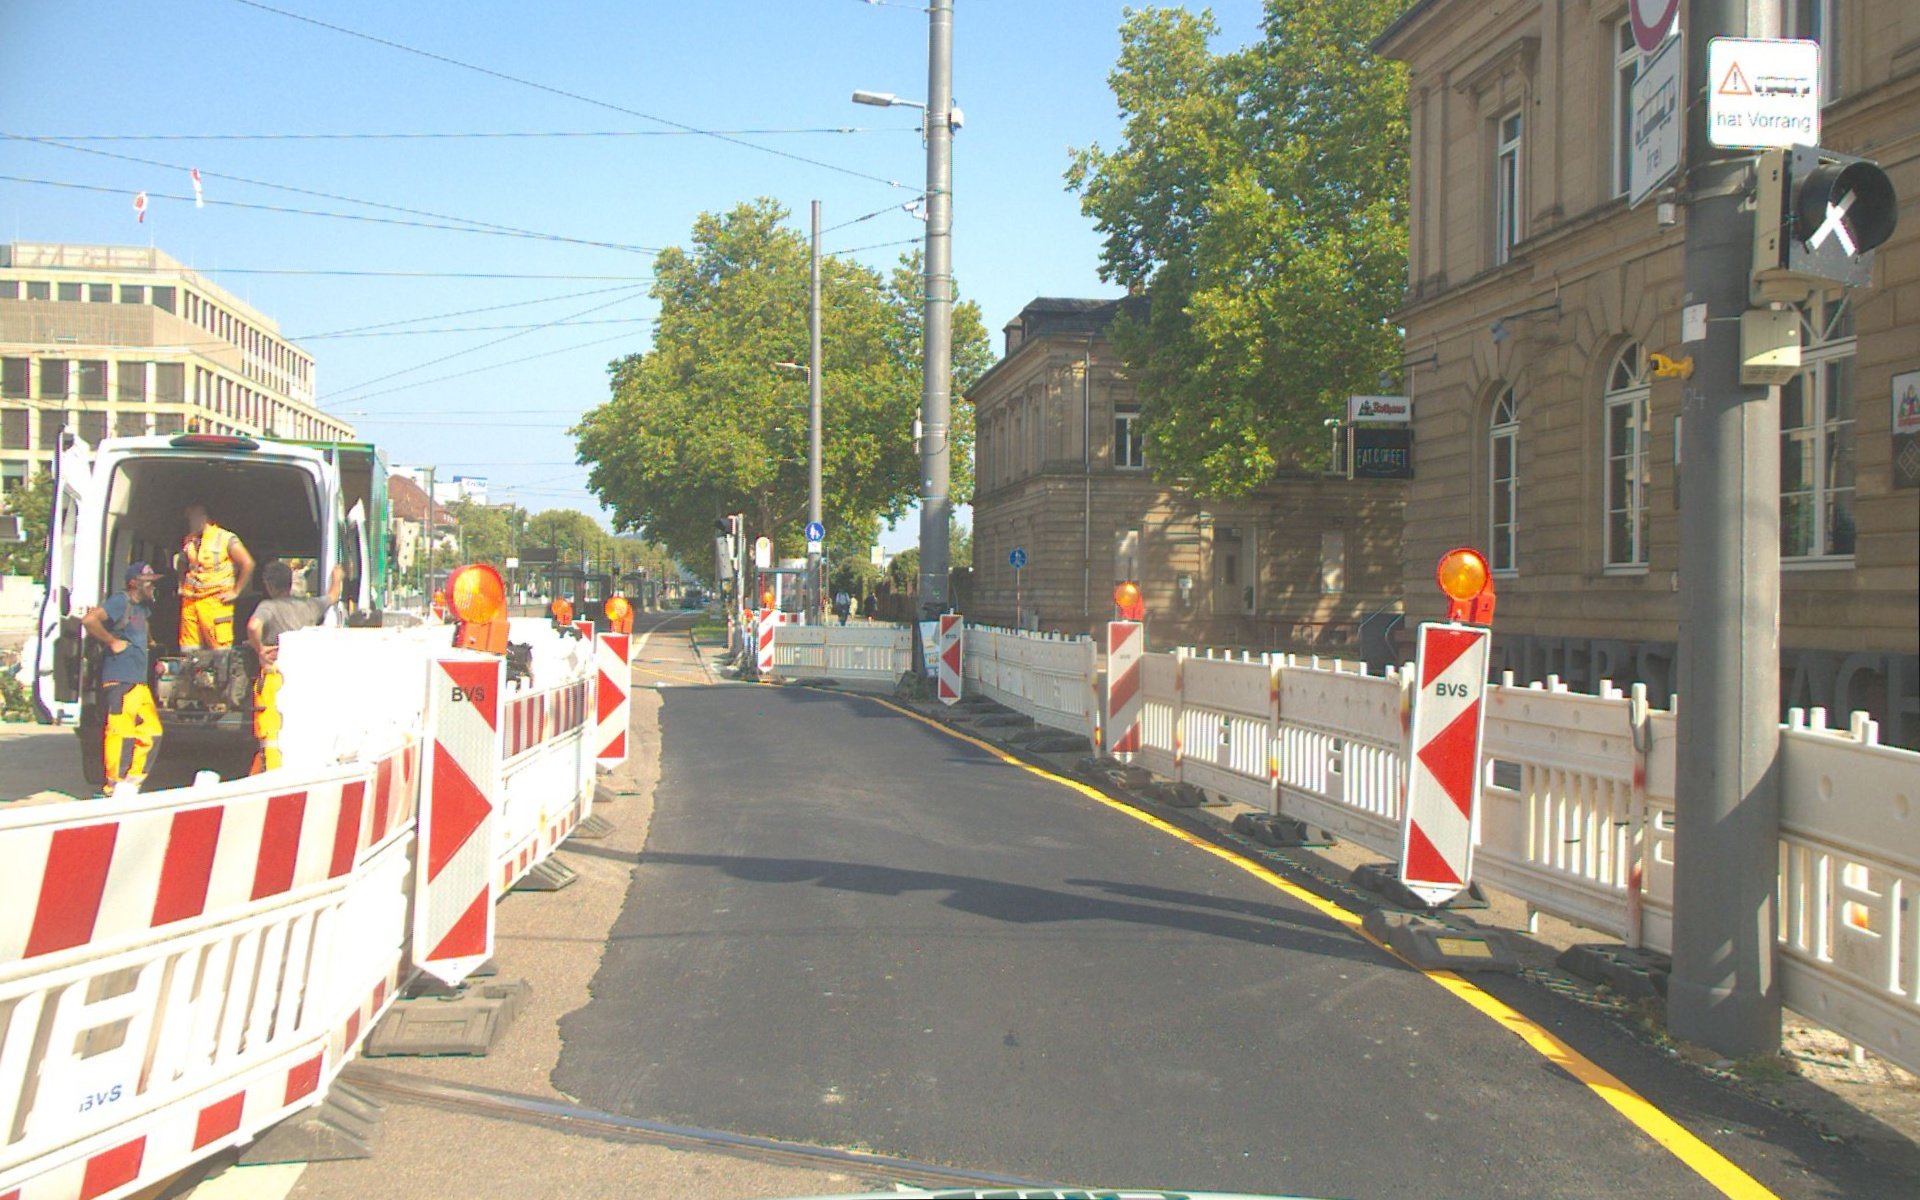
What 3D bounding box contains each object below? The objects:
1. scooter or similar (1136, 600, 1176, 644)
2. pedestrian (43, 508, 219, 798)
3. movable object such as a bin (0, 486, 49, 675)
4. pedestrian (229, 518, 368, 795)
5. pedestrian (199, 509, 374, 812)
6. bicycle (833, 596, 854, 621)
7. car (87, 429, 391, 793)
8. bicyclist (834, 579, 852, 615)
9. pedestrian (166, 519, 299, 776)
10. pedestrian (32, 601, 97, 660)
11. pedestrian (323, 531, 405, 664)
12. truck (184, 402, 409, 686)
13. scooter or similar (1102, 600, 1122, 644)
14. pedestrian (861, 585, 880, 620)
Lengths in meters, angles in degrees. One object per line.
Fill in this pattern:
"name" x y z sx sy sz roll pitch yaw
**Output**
"scooter or similar" 5.813 0.642 49.029 1.240 1.231 0.418 -2 2 -34
"pedestrian" -6.108 0.373 12.213 0.719 2.049 0.907 0 0 23
"movable object such as a bin" -23.193 -0.380 33.029 3.429 4.083 9.048 0 1 15
"pedestrian" -5.066 0.414 12.717 0.719 2.049 0.907 0 0 -2
"pedestrian" -4.778 0.410 11.772 0.719 2.049 0.907 0 0 24
"bicycle" -5.152 0.353 72.854 0.704 1.060 1.898 0 0 -11
"car" -6.505 0.083 15.438 2.192 2.777 5.140 0 0 -20
"bicyclist" -5.168 -0.125 72.912 0.704 1.570 0.953 0 0 -11
"pedestrian" -5.996 0.379 13.675 0.719 2.049 0.906 0 0 -3
"pedestrian" -20.687 0.705 38.235 0.995 1.329 0.981 0 0 -5
"pedestrian" -7.930 -0.031 22.007 0.691 1.723 0.765 0 0 27
"truck" -10.171 -0.771 26.089 2.632 3.742 8.174 0 0 -17
"scooter or similar" 4.435 0.630 48.318 0.412 1.231 1.256 0 2 14
"pedestrian" -4.459 0.123 82.562 0.804 1.716 1.010 -1 0 -8
